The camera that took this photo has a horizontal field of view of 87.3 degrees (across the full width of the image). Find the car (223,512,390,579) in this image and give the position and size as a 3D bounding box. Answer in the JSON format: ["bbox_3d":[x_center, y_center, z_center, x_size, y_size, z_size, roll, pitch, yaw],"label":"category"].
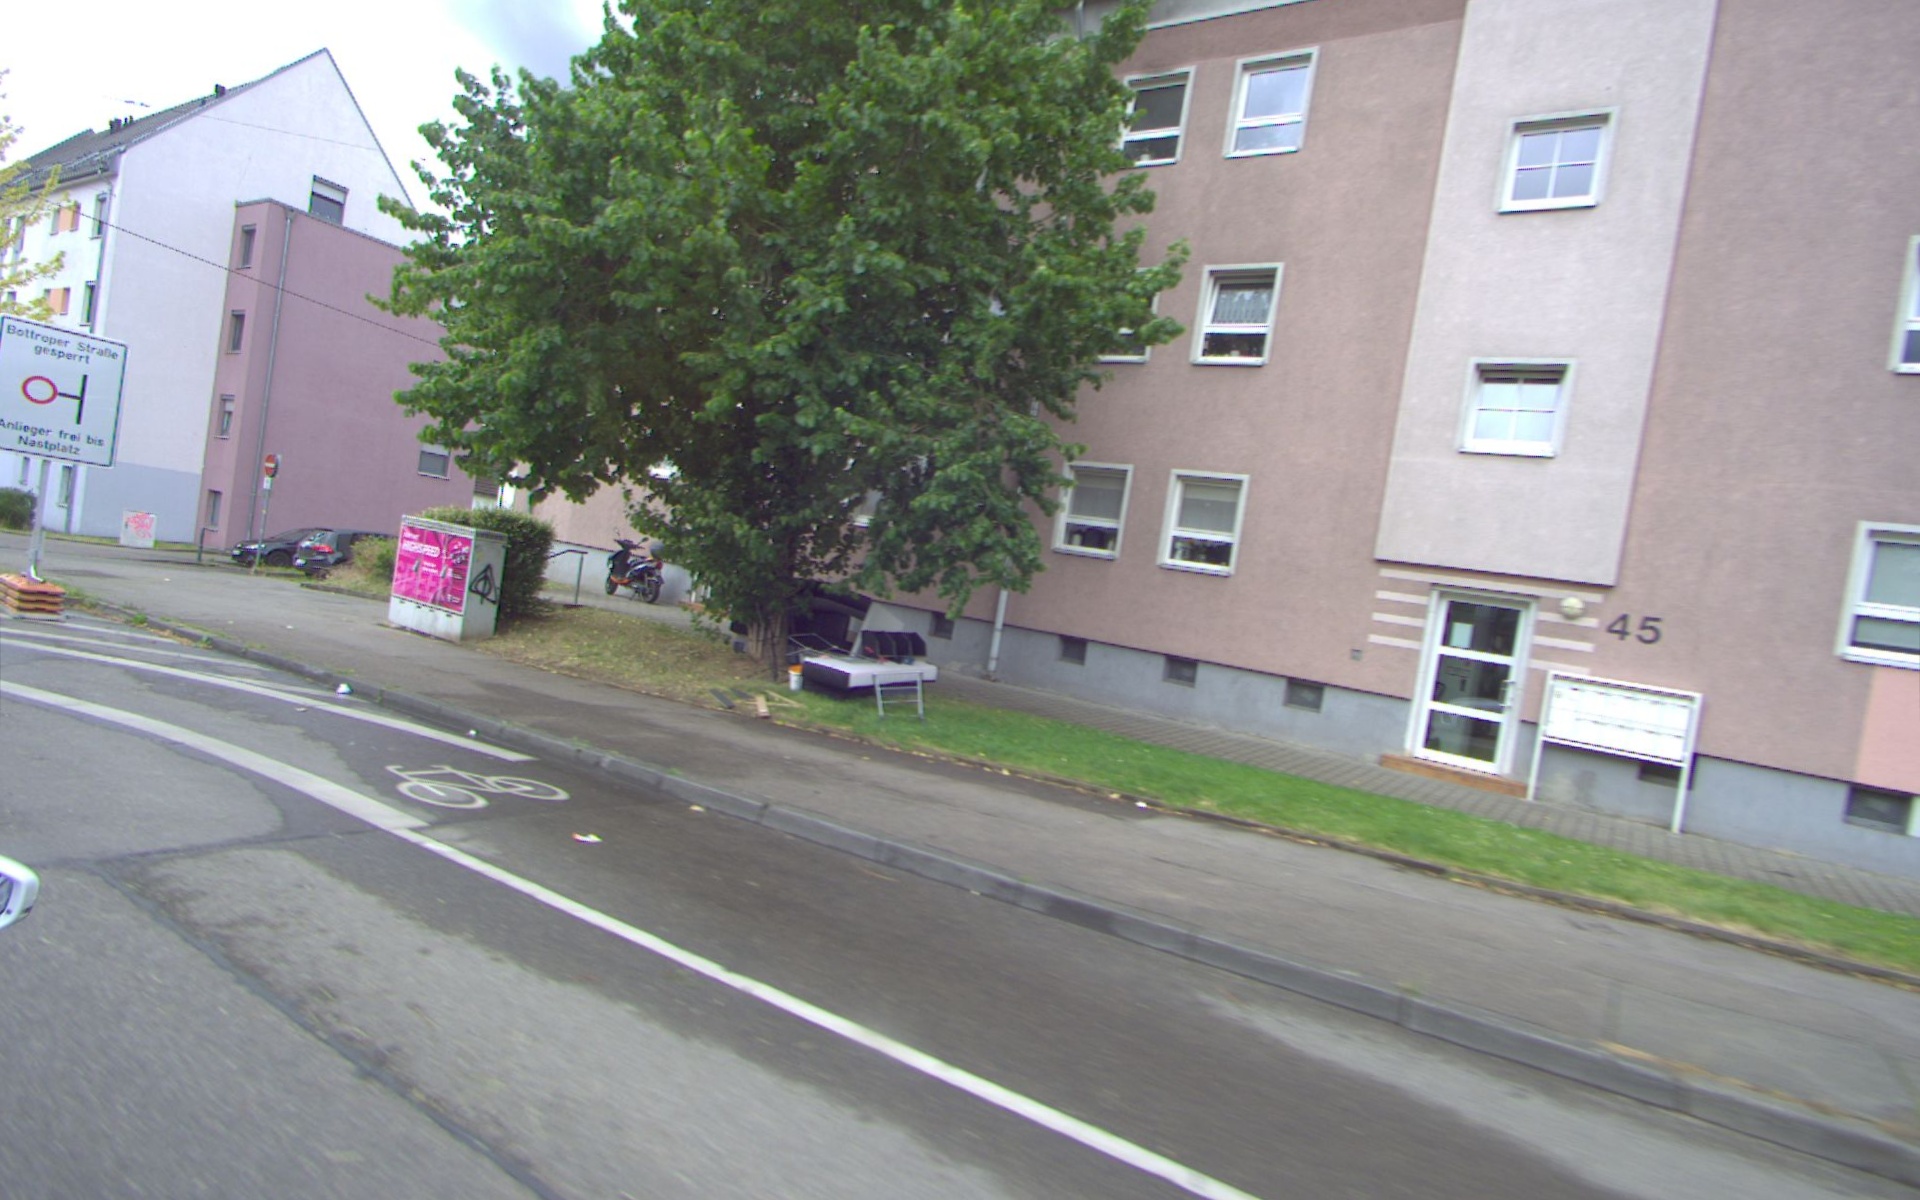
[{"bbox_3d":[-20.724,-1.688,32.042,1.732,1.473,3.990,8,-1,35],"label":"car"}]

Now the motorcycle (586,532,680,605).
[{"bbox_3d":[-6.590,-0.638,20.255,1.935,1.242,0.591,7,0,33],"label":"motorcycle"}]

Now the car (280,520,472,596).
[{"bbox_3d":[-15.298,-1.058,26.563,1.661,1.470,3.990,5,-1,33],"label":"car"}]
